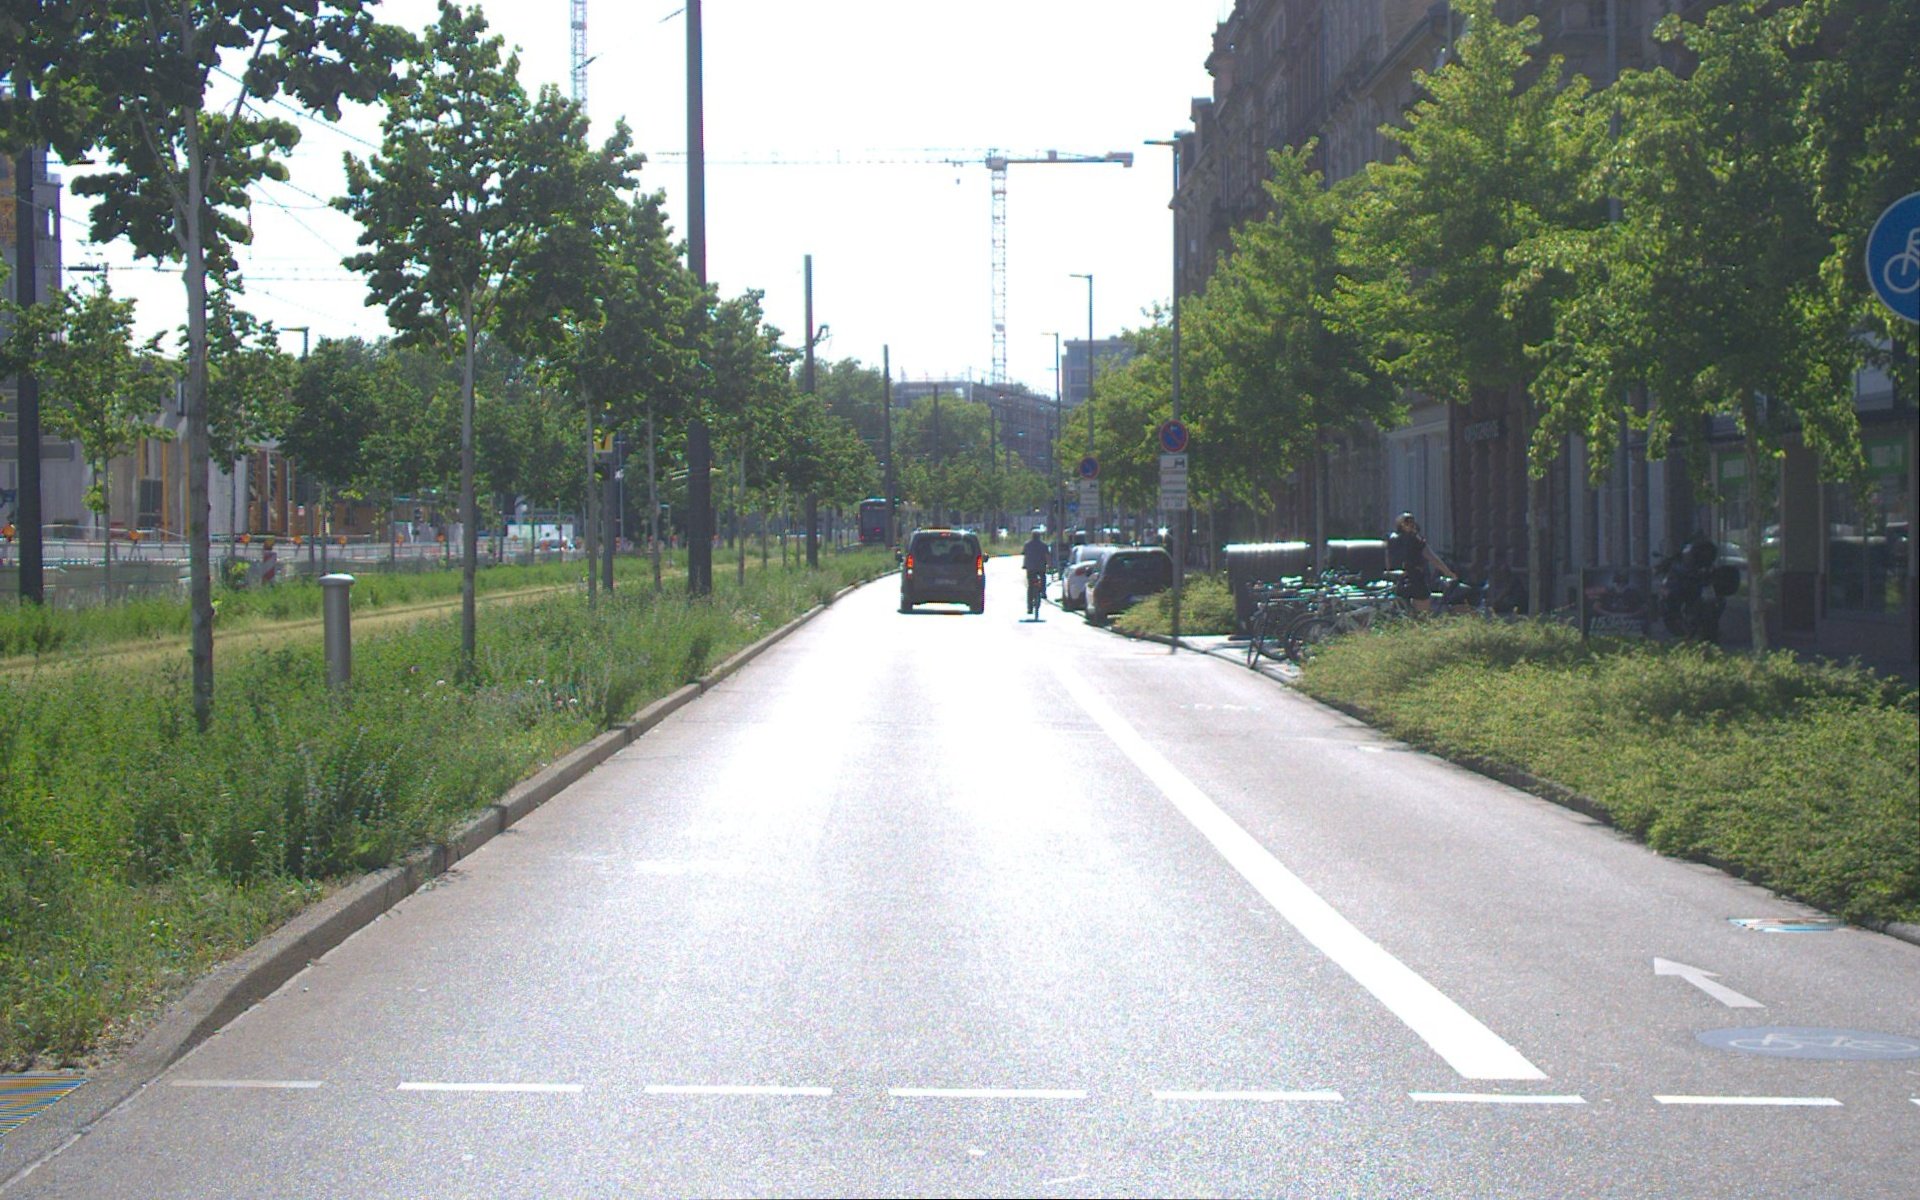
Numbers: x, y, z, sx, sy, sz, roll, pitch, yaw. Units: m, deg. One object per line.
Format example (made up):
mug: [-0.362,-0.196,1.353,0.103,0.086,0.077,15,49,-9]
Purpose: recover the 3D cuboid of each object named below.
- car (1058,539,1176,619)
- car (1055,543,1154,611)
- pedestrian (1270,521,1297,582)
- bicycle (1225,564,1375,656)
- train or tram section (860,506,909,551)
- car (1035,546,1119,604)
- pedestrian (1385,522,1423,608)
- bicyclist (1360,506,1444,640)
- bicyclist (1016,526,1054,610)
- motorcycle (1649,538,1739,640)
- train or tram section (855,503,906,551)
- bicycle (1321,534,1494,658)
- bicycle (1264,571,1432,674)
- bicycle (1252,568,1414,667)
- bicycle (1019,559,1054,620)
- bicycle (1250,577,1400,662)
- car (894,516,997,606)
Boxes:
car: [3.046,-0.445,67.439,2.028,1.493,4.654,-1,1,-1]
car: [3.327,-0.560,79.774,2.028,1.493,4.530,-1,1,-1]
pedestrian: [8.532,-1.276,90.709,0.614,1.606,0.669,-1,1,-1]
bicycle: [4.345,0.123,43.966,1.792,1.027,0.527,-5,1,0]
train or tram section: [-4.757,-4.506,218.411,2.756,2.733,9.864,1,0,0]
car: [3.118,-0.691,92.302,2.028,1.493,4.530,-1,1,-1]
pedestrian: [8.346,-0.668,64.608,0.614,1.606,0.669,-1,1,-1]
bicyclist: [5.285,-0.325,41.120,0.798,1.525,0.662,-5,1,-1]
bicyclist: [1.526,-0.652,69.796,0.684,1.667,0.922,2,1,-1]
motorcycle: [9.417,-0.151,44.158,0.700,1.263,1.982,-1,1,-1]
train or tram section: [-4.788,-4.420,208.562,2.756,2.733,9.864,1,0,0]
bicycle: [5.350,-0.049,41.169,1.893,1.326,0.617,-5,1,-1]
bicycle: [4.458,0.255,39.541,1.792,1.027,0.527,-5,1,0]
bicycle: [4.434,0.201,40.915,1.792,1.027,0.527,-5,1,0]
bicycle: [1.537,-0.222,69.541,0.601,1.177,1.869,2,1,-1]
bicycle: [4.527,0.236,42.655,1.792,1.027,0.527,0,1,0]
car: [-0.335,-0.883,76.328,2.200,1.919,4.654,-1,1,-1]
